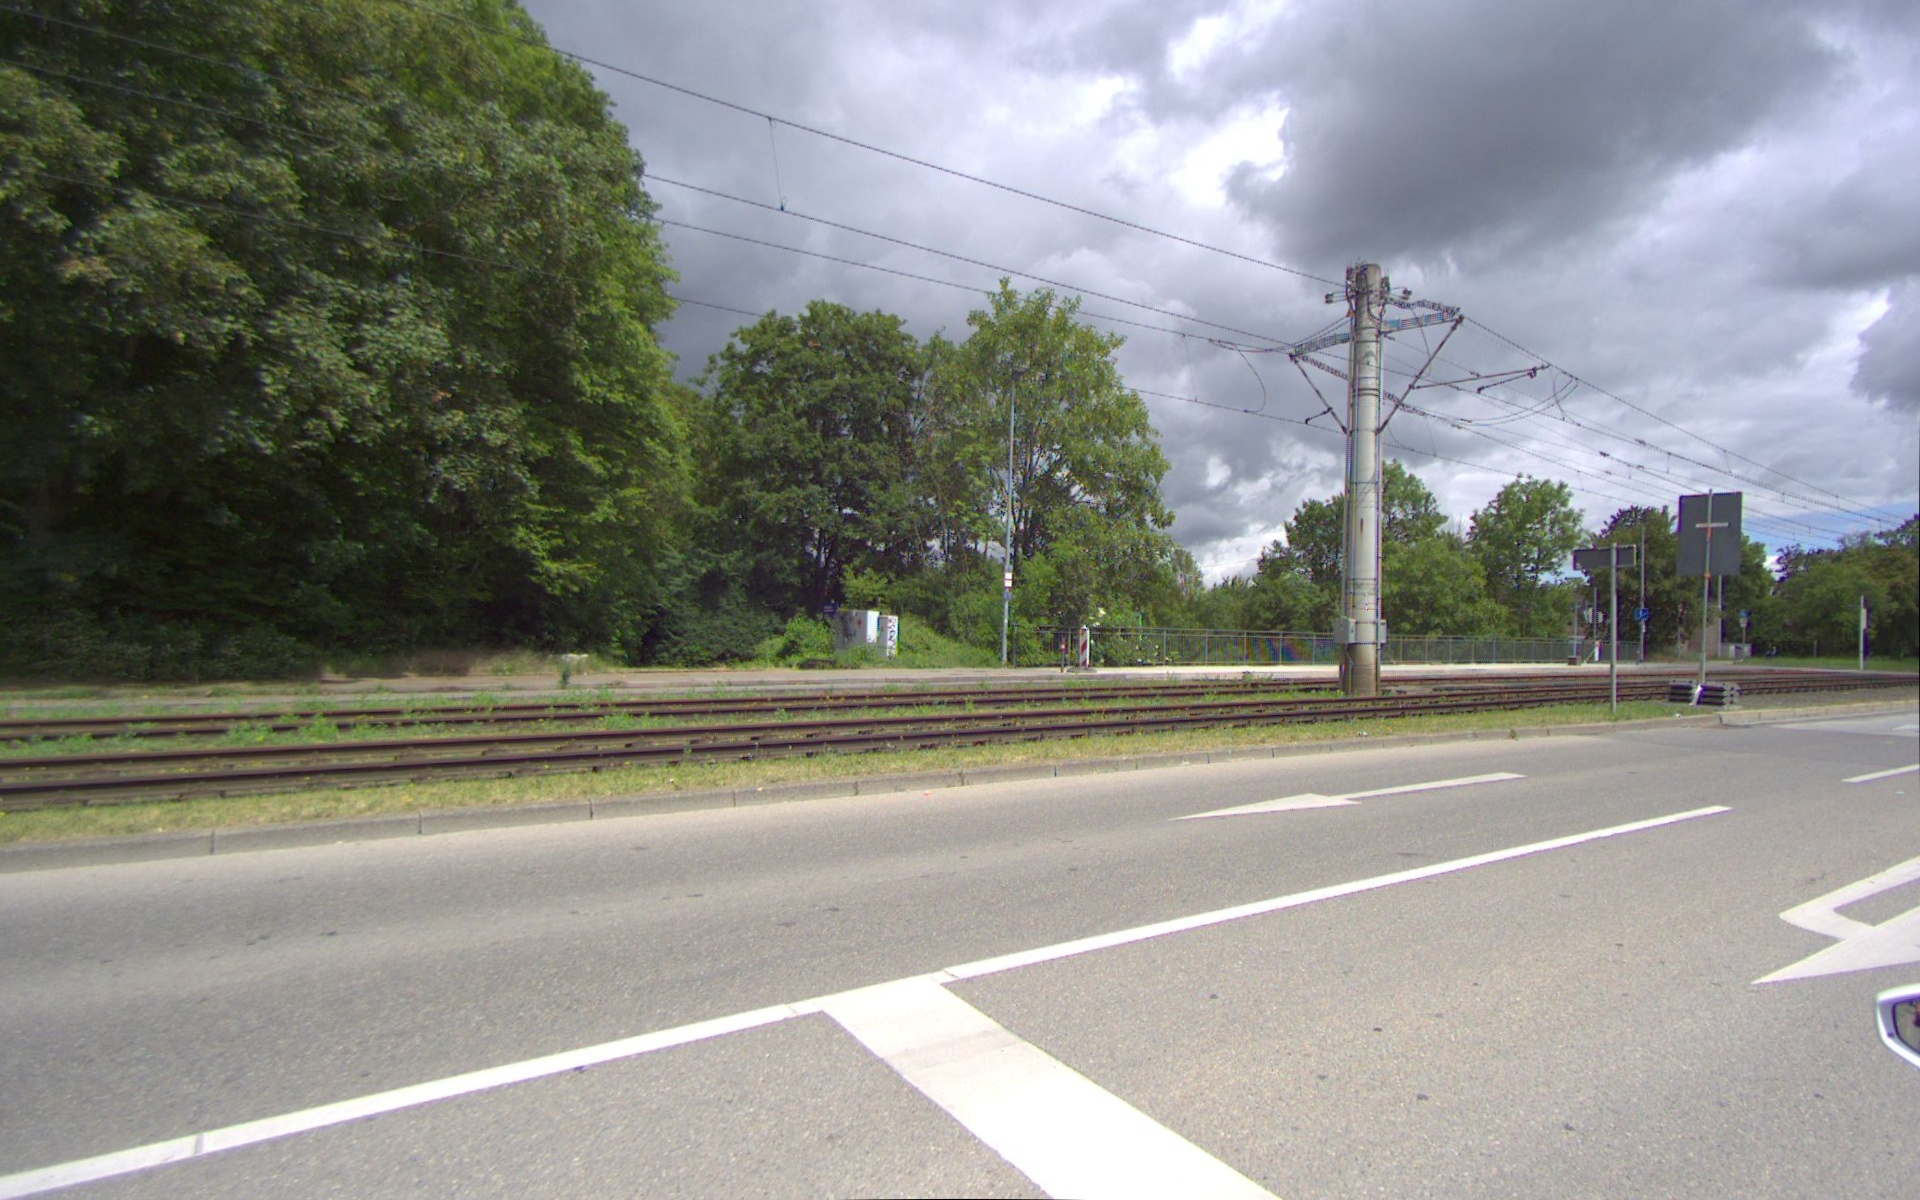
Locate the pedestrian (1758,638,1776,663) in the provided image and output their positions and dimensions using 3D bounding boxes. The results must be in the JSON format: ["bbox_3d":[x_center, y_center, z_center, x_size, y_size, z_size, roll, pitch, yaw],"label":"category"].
[{"bbox_3d":[60.871,3.820,75.769,0.800,1.835,0.797,2,1,-32],"label":"pedestrian"}]
